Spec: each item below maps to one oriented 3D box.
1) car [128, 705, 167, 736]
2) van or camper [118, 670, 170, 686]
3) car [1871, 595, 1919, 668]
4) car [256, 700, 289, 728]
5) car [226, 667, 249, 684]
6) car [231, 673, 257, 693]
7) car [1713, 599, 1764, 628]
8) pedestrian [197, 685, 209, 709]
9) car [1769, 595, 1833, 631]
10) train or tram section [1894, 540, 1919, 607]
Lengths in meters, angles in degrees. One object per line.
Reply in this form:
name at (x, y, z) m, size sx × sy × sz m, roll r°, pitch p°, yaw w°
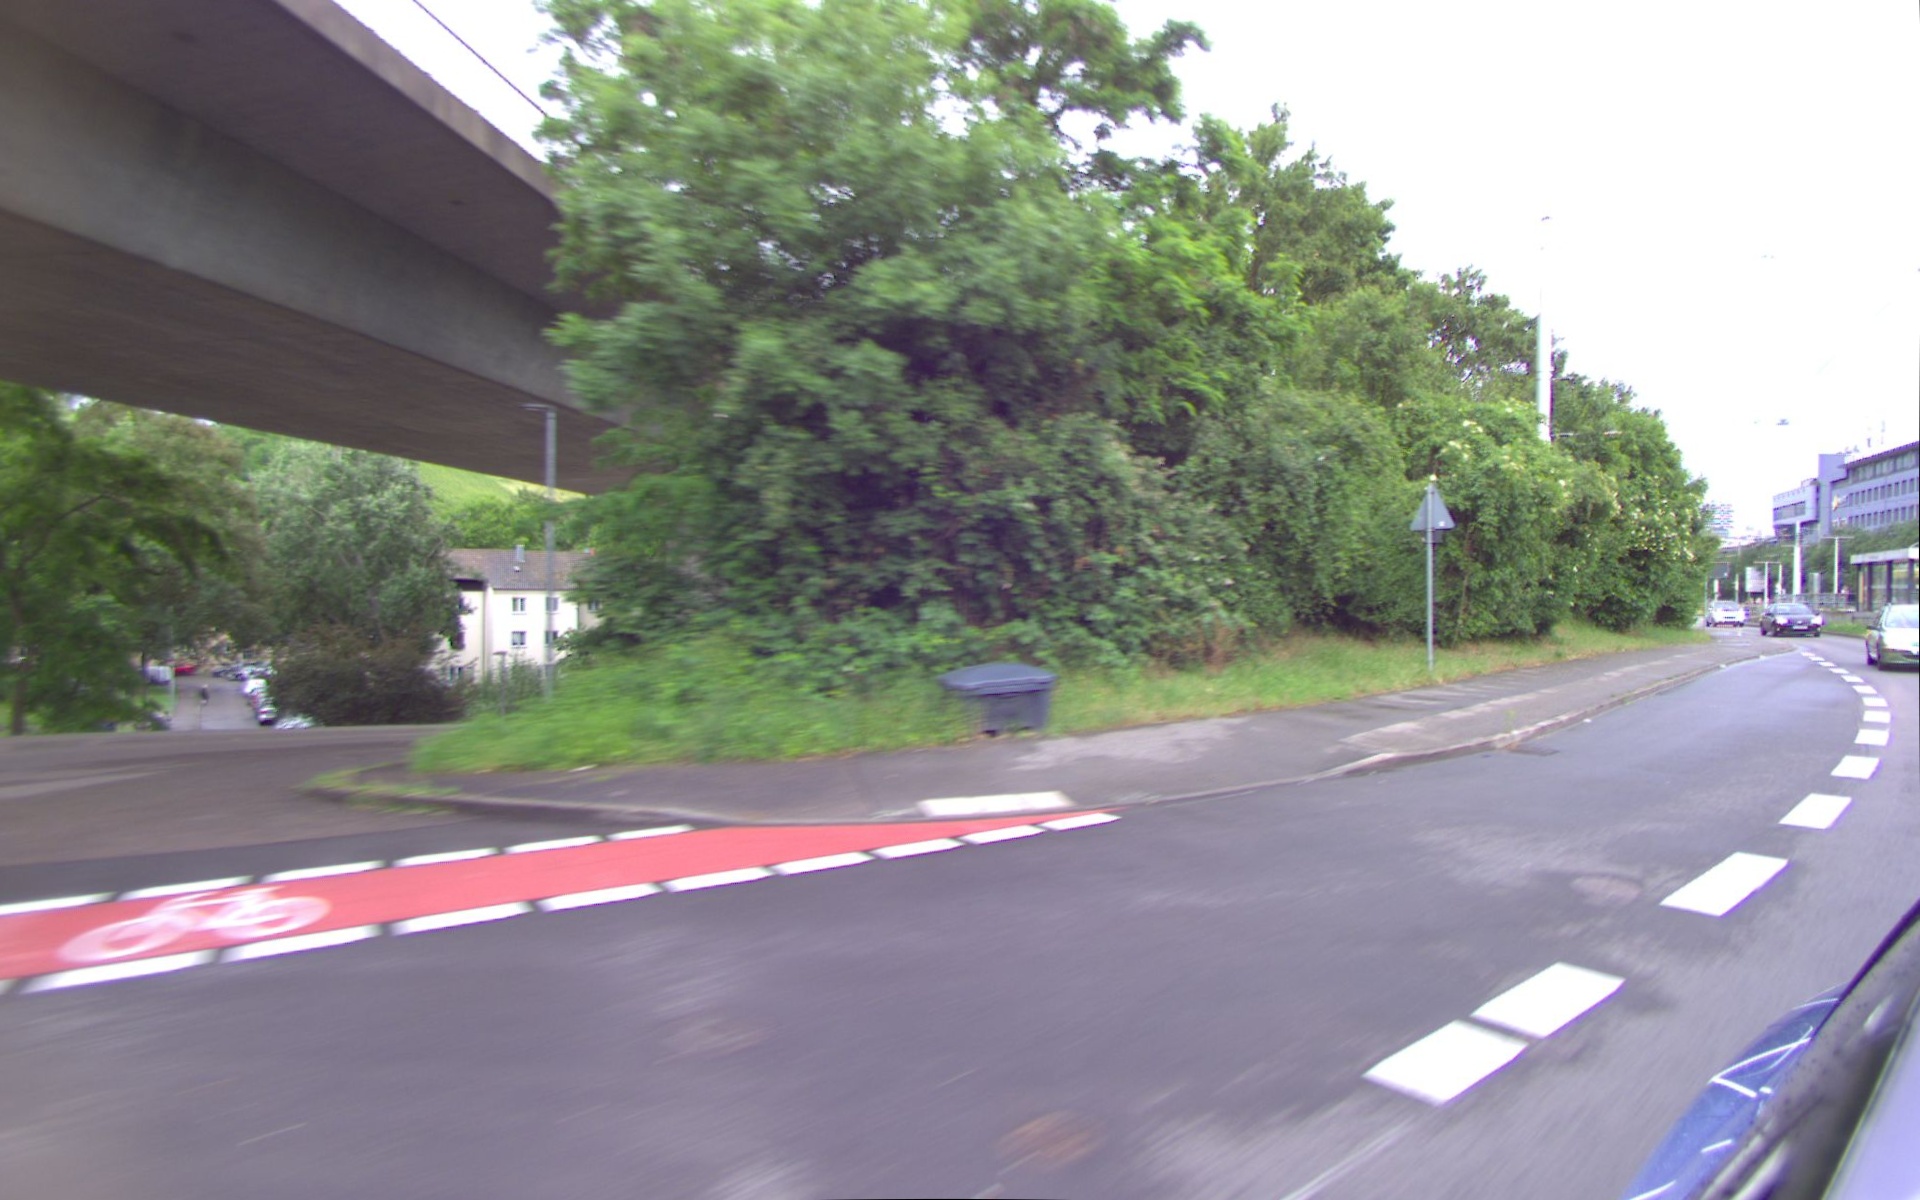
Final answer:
car at (-52.147, 7.710, 64.983) m, size 1.855 × 1.469 × 4.154 m, roll 0°, pitch 0°, yaw -37°
van or camper at (-82.408, 7.878, 102.213) m, size 4.086 × 1.469 × 1.714 m, roll -1°, pitch 0°, yaw 7°
car at (22.551, 0.698, 23.414) m, size 1.772 × 1.520 × 3.947 m, roll 2°, pitch 2°, yaw 37°
car at (-44.924, 7.415, 66.072) m, size 1.707 × 1.431 × 3.558 m, roll 0°, pitch 0°, yaw -36°
car at (-76.564, 7.963, 107.175) m, size 1.855 × 1.469 × 4.154 m, roll 0°, pitch 0°, yaw -37°
car at (-65.412, 7.520, 92.432) m, size 1.855 × 1.469 × 4.154 m, roll 0°, pitch 0°, yaw -37°
car at (46.497, 0.797, 60.531) m, size 1.984 × 1.592 × 3.955 m, roll -2°, pitch 0°, yaw 32°
pedestrian at (-60.970, 7.780, 81.521) m, size 0.716 × 1.833 × 0.733 m, roll -1°, pitch -1°, yaw -38°
car at (38.127, 0.574, 45.983) m, size 1.769 × 1.521 × 3.951 m, roll -2°, pitch -1°, yaw 34°
train or tram section at (56.336, -1.554, 55.691) m, size 2.852 × 4.023 × 19.128 m, roll -2°, pitch 0°, yaw 30°
